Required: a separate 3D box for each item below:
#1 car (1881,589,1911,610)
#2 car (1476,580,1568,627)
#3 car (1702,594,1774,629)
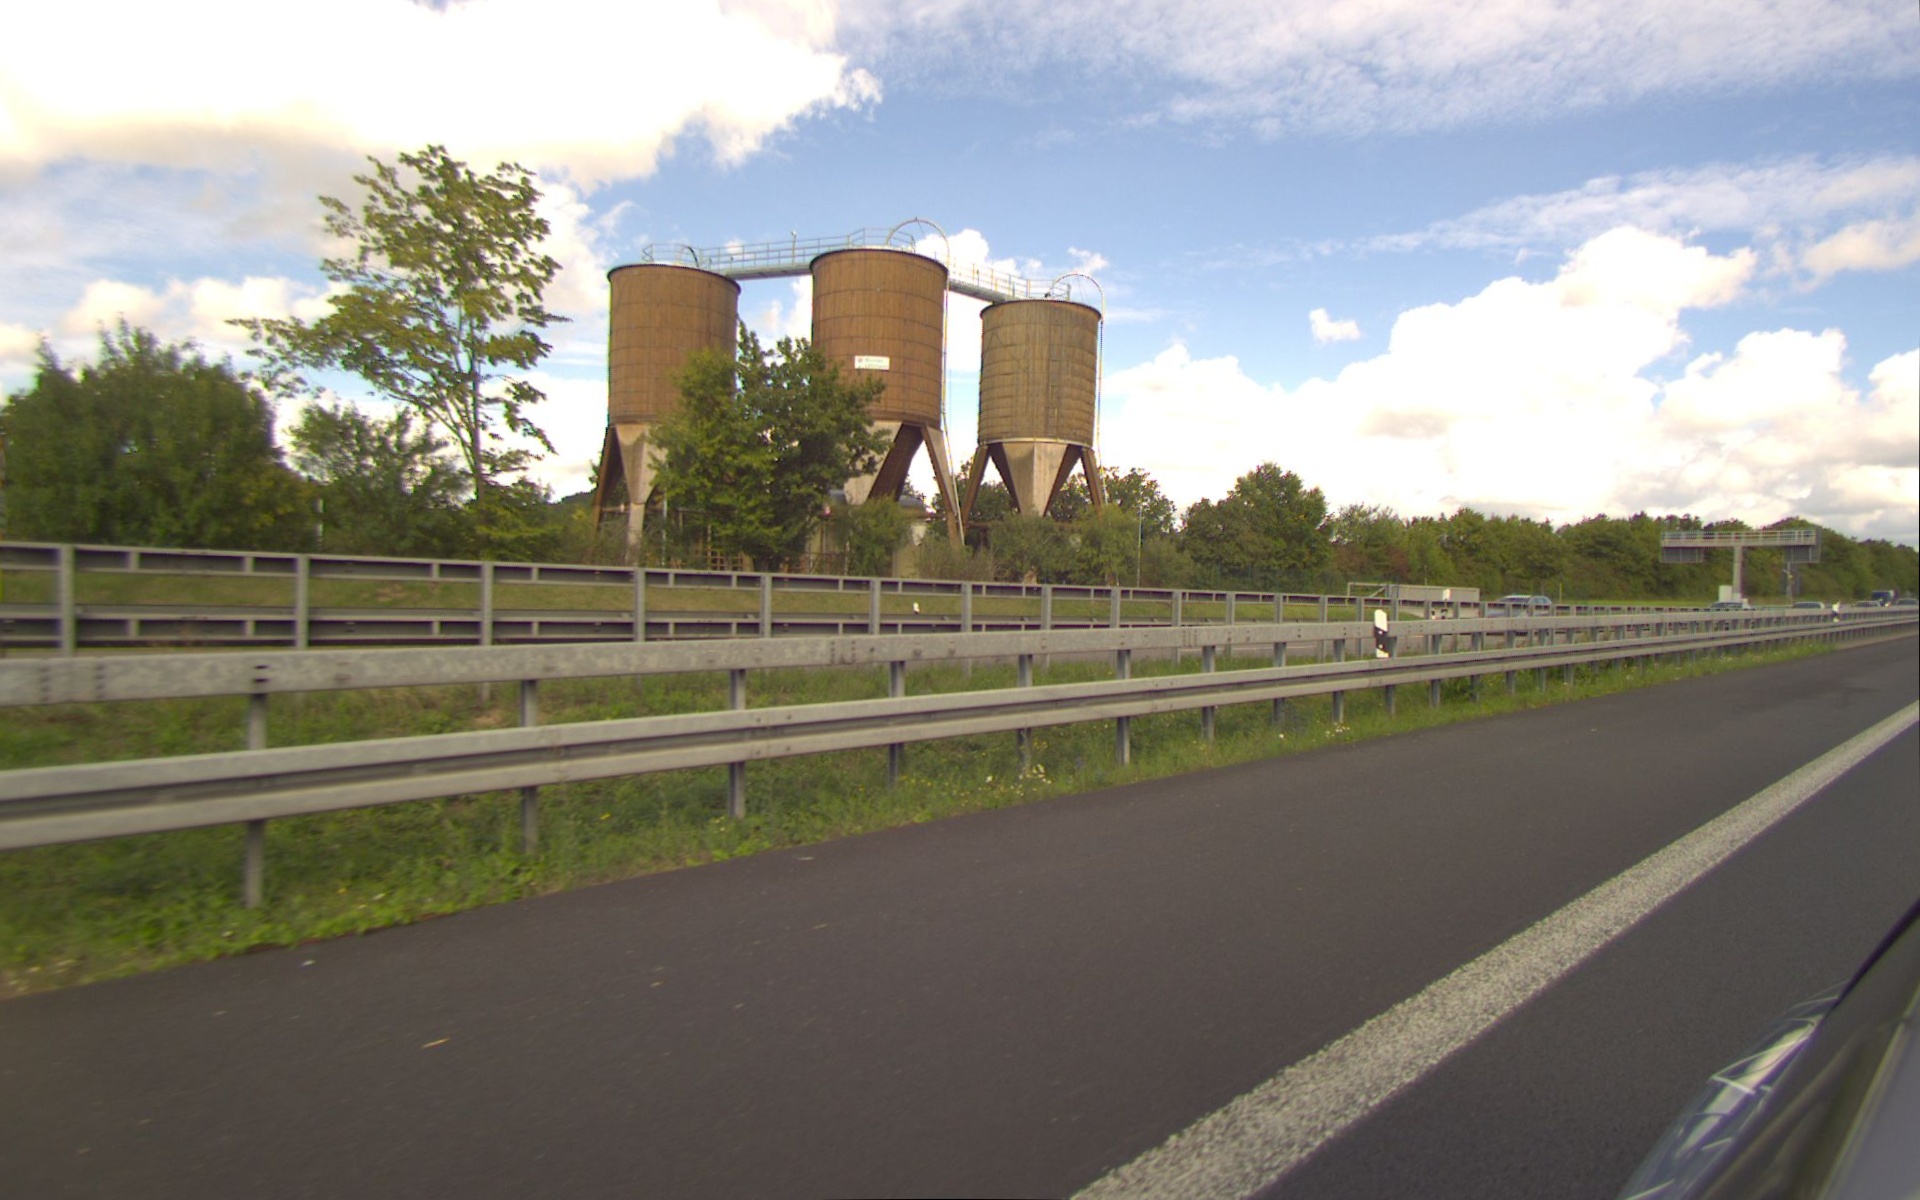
[{"bbox_3d":[105.453,-0.081,114.015,5.040,2.213,1.996,0,1,-42],"label":"car"},{"bbox_3d":[22.634,0.101,40.715,3.930,1.729,1.998,0,3,-41],"label":"car"},{"bbox_3d":[36.263,0.484,47.143,3.931,1.503,1.997,0,1,-42],"label":"car"}]
